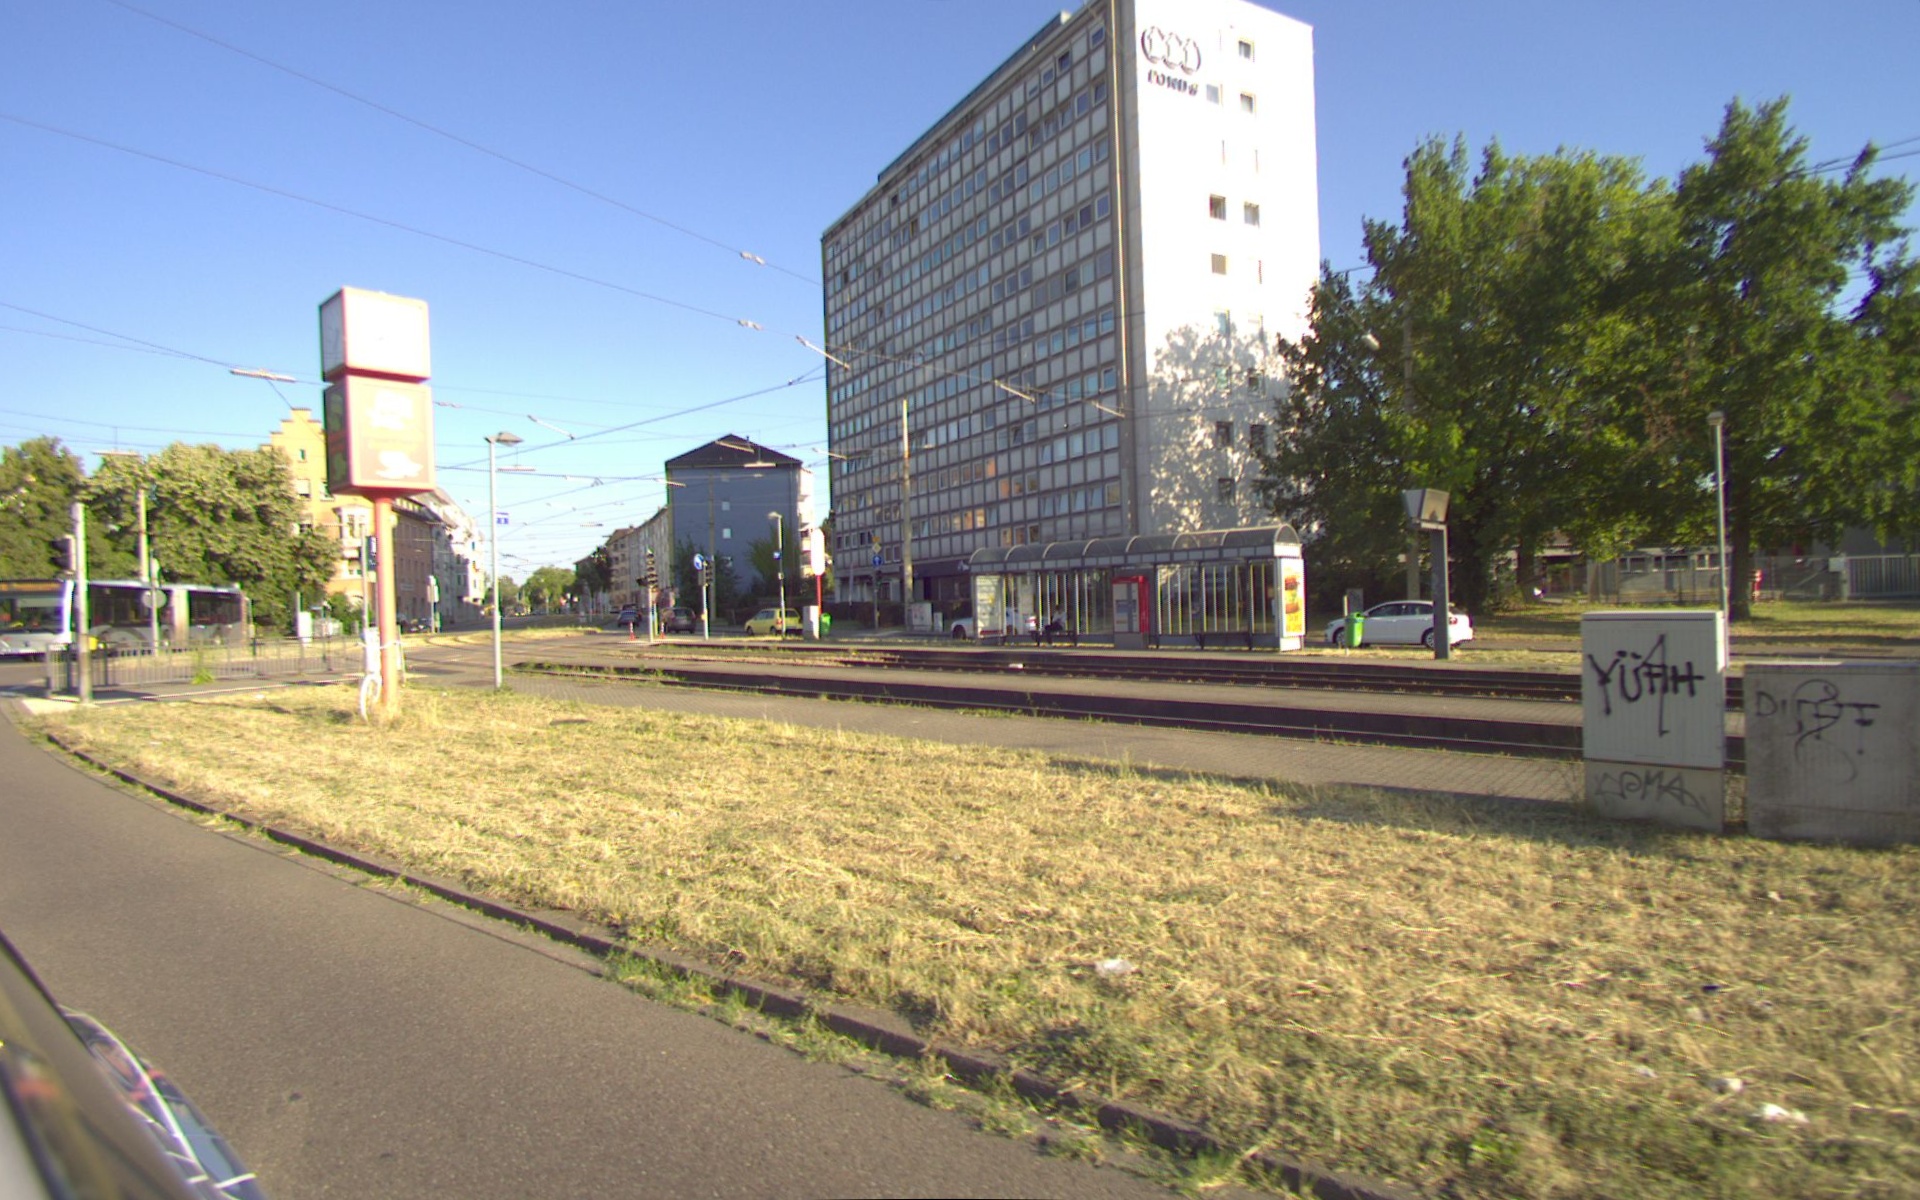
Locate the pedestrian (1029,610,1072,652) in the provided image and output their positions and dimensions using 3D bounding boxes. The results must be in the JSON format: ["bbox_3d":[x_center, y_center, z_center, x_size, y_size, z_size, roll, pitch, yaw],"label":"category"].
[{"bbox_3d":[2.675,0.901,29.841,0.923,1.197,0.834,-2,-1,43],"label":"pedestrian"}]

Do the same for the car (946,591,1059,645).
[{"bbox_3d":[1.626,0.699,39.817,4.162,2.029,1.971,-1,-1,44],"label":"car"}]

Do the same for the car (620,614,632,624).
[{"bbox_3d":[-54.823,3.145,166.026,1.891,1.674,4.723,-1,-1,-19],"label":"car"}]

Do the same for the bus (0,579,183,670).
[{"bbox_3d":[-34.356,0.951,39.916,2.686,3.100,10.633,-1,-1,-20],"label":"bus"}]

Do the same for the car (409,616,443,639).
[{"bbox_3d":[-46.646,2.353,88.500,1.860,1.896,4.012,-1,-1,-16],"label":"car"}]

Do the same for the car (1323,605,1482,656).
[{"bbox_3d":[13.046,0.868,29.923,3.963,1.378,1.783,-1,0,41],"label":"car"}]

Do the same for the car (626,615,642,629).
[{"bbox_3d":[-36.802,2.464,114.286,1.751,1.493,4.413,0,0,-18],"label":"car"}]

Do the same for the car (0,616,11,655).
[{"bbox_3d":[-57.280,2.114,59.238,5.413,2.230,2.015,-2,-1,41],"label":"car"}]

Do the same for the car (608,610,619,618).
[{"bbox_3d":[-62.487,2.553,182.316,1.673,1.471,4.330,0,0,-22],"label":"car"}]

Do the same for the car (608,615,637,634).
[{"bbox_3d":[-29.770,2.126,89.198,1.628,1.608,4.601,-2,0,-28],"label":"car"}]

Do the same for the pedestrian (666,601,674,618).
[{"bbox_3d":[-31.226,1.041,108.987,0.608,1.707,0.708,-6,1,-17],"label":"pedestrian"}]

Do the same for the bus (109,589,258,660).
[{"bbox_3d":[-37.952,1.196,49.992,2.667,3.100,10.633,-1,-1,-20],"label":"bus"}]

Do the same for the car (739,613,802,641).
[{"bbox_3d":[-9.579,1.357,51.039,1.526,1.350,3.600,-1,-1,-39],"label":"car"}]

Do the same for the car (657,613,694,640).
[{"bbox_3d":[-17.761,1.612,63.141,1.558,1.607,4.166,-1,0,-25],"label":"car"}]

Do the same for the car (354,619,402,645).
[{"bbox_3d":[-41.134,2.229,71.657,1.966,1.785,4.011,-1,-1,-15],"label":"car"}]

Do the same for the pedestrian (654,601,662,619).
[{"bbox_3d":[-32.080,1.058,107.594,0.585,1.786,0.888,-6,1,-17],"label":"pedestrian"}]

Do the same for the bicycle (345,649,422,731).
[{"bbox_3d":[-7.330,1.118,12.936,0.545,0.925,1.748,0,-1,-19],"label":"bicycle"}]
